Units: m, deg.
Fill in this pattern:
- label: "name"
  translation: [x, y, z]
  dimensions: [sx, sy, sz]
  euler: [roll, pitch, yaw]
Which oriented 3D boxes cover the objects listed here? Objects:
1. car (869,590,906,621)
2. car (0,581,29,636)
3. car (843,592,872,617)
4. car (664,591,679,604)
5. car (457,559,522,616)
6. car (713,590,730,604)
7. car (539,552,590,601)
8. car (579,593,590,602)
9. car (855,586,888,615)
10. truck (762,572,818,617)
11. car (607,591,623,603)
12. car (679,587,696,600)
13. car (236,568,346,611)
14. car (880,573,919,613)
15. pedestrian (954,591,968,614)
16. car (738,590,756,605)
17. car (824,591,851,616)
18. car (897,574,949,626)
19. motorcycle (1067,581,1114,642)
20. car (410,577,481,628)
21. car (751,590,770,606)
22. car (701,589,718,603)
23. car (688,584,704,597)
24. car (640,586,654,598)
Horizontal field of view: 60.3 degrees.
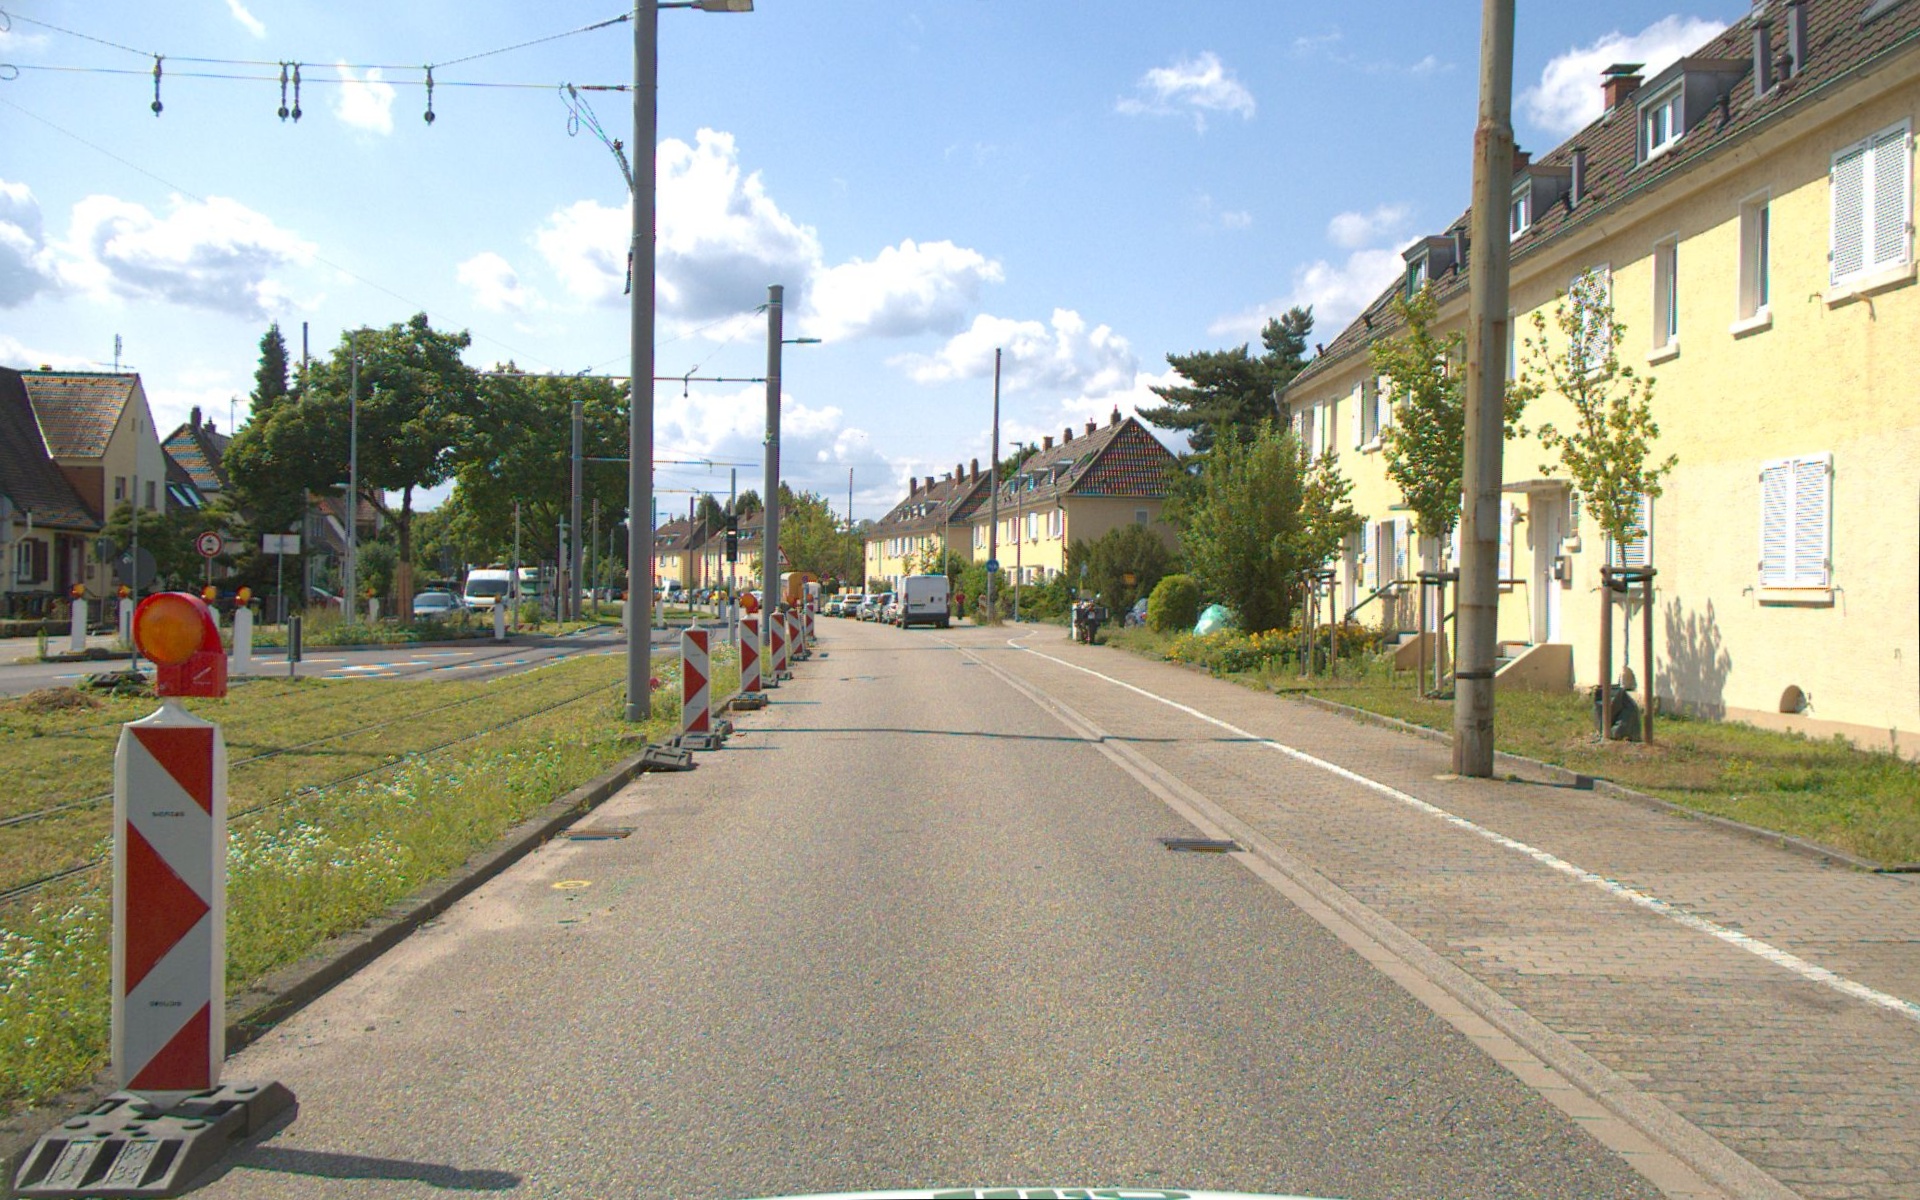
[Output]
- label: "car"
  translation: [-3.822, 0.282, 86.630]
  dimensions: [1.538, 1.578, 3.782]
  euler: [0, 0, -8]
- label: "car"
  translation: [-26.902, 0.179, 43.416]
  dimensions: [3.907, 1.422, 1.704]
  euler: [1, 1, -2]
- label: "car"
  translation: [-6.459, 0.265, 104.338]
  dimensions: [1.538, 1.578, 3.472]
  euler: [0, 0, -8]
- label: "car"
  translation: [-32.412, -0.263, 185.950]
  dimensions: [1.150, 1.451, 2.647]
  euler: [0, 0, -22]
- label: "car"
  translation: [-20.437, -0.544, 72.024]
  dimensions: [2.364, 2.379, 4.865]
  euler: [0, 0, -12]
- label: "car"
  translation: [-23.972, -0.314, 166.302]
  dimensions: [1.239, 1.451, 2.650]
  euler: [0, 0, -19]
- label: "car"
  translation: [-20.108, -1.213, 84.313]
  dimensions: [2.364, 2.411, 4.865]
  euler: [0, 1, -12]
- label: "car"
  translation: [-52.067, -0.376, 229.342]
  dimensions: [1.239, 1.207, 2.649]
  euler: [0, 0, -21]
- label: "car"
  translation: [-4.957, -0.002, 92.324]
  dimensions: [1.538, 1.578, 3.782]
  euler: [0, 0, -8]
- label: "truck"
  translation: [-13.826, -0.435, 133.985]
  dimensions: [2.599, 3.555, 9.389]
  euler: [0, 0, -18]
- label: "car"
  translation: [-44.707, -0.392, 214.287]
  dimensions: [1.244, 1.451, 2.639]
  euler: [0, 0, -29]
- label: "car"
  translation: [-29.971, -0.699, 181.878]
  dimensions: [1.240, 1.374, 2.648]
  euler: [0, 0, -21]
- label: "car"
  translation: [-29.539, -0.458, 73.128]
  dimensions: [4.028, 1.807, 2.099]
  euler: [0, 0, -6]
- label: "car"
  translation: [-3.030, -0.364, 81.763]
  dimensions: [1.538, 1.930, 3.782]
  euler: [0, 0, -8]
- label: "pedestrian"
  translation: [0.059, 0.154, 91.524]
  dimensions: [0.620, 1.277, 0.725]
  euler: [0, 0, -11]
- label: "car"
  translation: [-19.953, -0.245, 154.722]
  dimensions: [1.238, 1.451, 2.651]
  euler: [0, 0, -18]
- label: "car"
  translation: [-8.230, 0.221, 110.665]
  dimensions: [1.538, 1.578, 3.472]
  euler: [0, 0, -8]
- label: "car"
  translation: [-1.659, 0.009, 72.218]
  dimensions: [2.025, 2.186, 4.874]
  euler: [0, 0, -4]
- label: "motorcycle"
  translation: [3.643, 0.303, 46.381]
  dimensions: [1.045, 1.664, 2.082]
  euler: [0, 0, -3]
- label: "car"
  translation: [-18.782, 0.076, 60.539]
  dimensions: [2.057, 1.807, 4.109]
  euler: [0, 0, -12]
- label: "car"
  translation: [-17.646, -0.170, 146.153]
  dimensions: [1.238, 1.451, 2.651]
  euler: [0, 0, -18]
- label: "car"
  translation: [-26.088, -0.376, 172.189]
  dimensions: [1.240, 1.451, 2.648]
  euler: [0, 0, -21]
- label: "car"
  translation: [-28.430, -1.028, 178.064]
  dimensions: [1.240, 1.374, 2.648]
  euler: [0, 0, -21]
- label: "car"
  translation: [-37.969, -0.976, 200.631]
  dimensions: [1.240, 1.451, 2.646]
  euler: [0, 0, -23]
